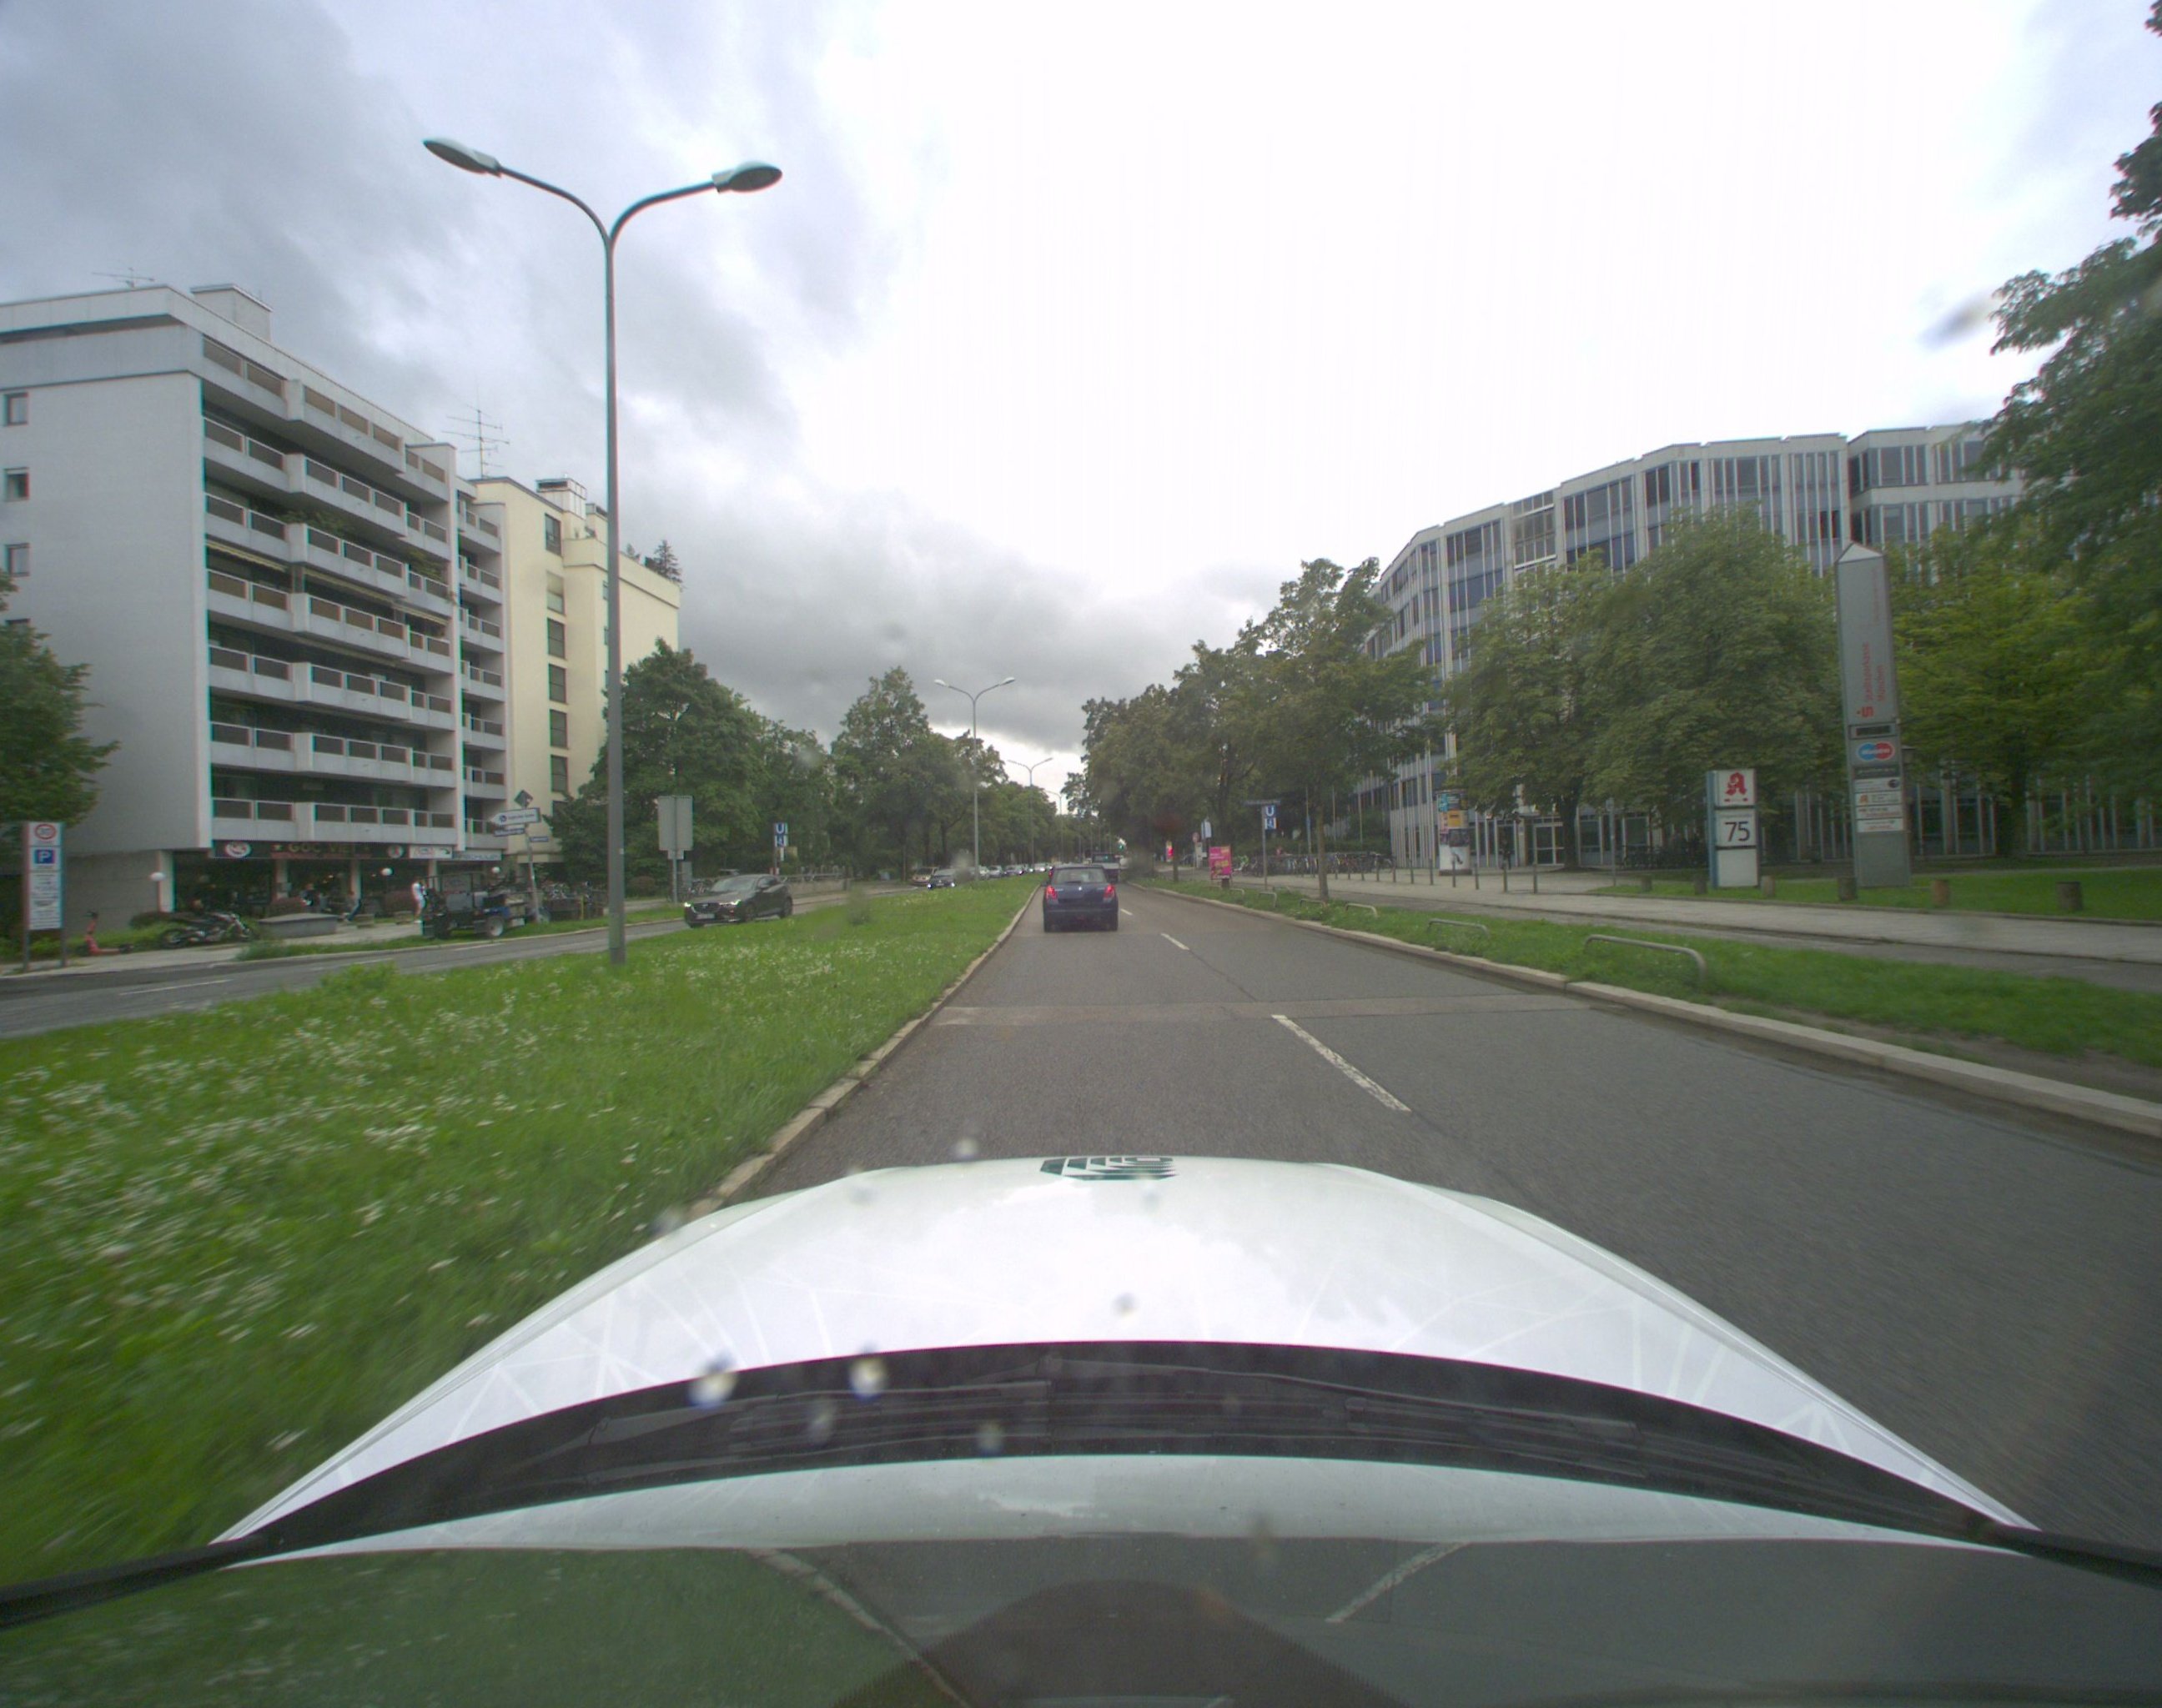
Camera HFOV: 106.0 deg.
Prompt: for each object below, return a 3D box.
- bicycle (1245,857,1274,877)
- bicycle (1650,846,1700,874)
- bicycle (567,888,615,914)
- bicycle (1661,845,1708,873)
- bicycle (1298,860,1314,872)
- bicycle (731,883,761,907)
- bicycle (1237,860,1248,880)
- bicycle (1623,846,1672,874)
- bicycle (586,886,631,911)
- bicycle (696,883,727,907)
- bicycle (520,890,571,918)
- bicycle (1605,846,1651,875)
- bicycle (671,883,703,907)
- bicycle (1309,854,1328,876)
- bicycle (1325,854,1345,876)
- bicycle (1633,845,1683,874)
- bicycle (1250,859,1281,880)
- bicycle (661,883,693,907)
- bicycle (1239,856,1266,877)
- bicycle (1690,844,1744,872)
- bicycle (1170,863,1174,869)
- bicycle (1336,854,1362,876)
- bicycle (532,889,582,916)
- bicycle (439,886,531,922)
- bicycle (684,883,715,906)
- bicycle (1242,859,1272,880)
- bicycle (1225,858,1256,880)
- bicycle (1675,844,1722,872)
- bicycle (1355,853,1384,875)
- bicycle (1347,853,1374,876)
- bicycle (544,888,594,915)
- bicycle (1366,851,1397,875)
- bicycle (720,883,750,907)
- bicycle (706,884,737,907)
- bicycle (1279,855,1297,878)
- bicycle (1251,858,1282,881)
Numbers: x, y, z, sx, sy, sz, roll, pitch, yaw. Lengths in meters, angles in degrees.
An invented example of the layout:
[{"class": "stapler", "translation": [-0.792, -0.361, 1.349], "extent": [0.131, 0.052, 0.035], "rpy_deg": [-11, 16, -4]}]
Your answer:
[{"class": "bicycle", "translation": [11.003, 0.809, 50.180], "extent": [1.965, 1.083, 0.590], "rpy_deg": [-5, 1, -41]}, {"class": "bicycle", "translation": [27.470, 0.292, 37.706], "extent": [0.508, 1.260, 2.170], "rpy_deg": [-2, -1, -6]}, {"class": "bicycle", "translation": [-22.670, 2.150, 37.662], "extent": [1.937, 1.103, 0.561], "rpy_deg": [2, 0, 7]}, {"class": "bicycle", "translation": [28.063, 0.258, 37.906], "extent": [0.508, 1.260, 2.017], "rpy_deg": [-2, -1, -7]}, {"class": "bicycle", "translation": [17.477, 0.942, 63.270], "extent": [0.680, 0.853, 1.834], "rpy_deg": [-3, 0, -1]}, {"class": "bicycle", "translation": [-16.574, 2.014, 40.328], "extent": [0.406, 1.089, 2.088], "rpy_deg": [2, 0, 6]}, {"class": "bicycle", "translation": [10.865, 1.040, 54.738], "extent": [0.527, 1.226, 1.866], "rpy_deg": [-5, 1, 8]}, {"class": "bicycle", "translation": [26.083, 0.294, 37.553], "extent": [0.508, 1.260, 2.170], "rpy_deg": [-2, -1, -6]}, {"class": "bicycle", "translation": [-22.500, 2.123, 38.782], "extent": [1.937, 1.103, 0.490], "rpy_deg": [2, 0, 7]}, {"class": "bicycle", "translation": [-18.316, 2.010, 40.396], "extent": [0.406, 1.073, 1.958], "rpy_deg": [2, 0, 6]}, {"class": "bicycle", "translation": [-23.045, 2.138, 35.038], "extent": [1.937, 1.103, 0.490], "rpy_deg": [2, 0, 7]}, {"class": "bicycle", "translation": [25.419, 0.315, 37.887], "extent": [0.605, 1.260, 2.052], "rpy_deg": [-2, -1, -4]}, {"class": "bicycle", "translation": [-19.487, 2.016, 40.330], "extent": [0.406, 1.104, 1.958], "rpy_deg": [2, 0, 6]}, {"class": "bicycle", "translation": [13.231, 0.629, 45.429], "extent": [0.486, 1.189, 1.954], "rpy_deg": [-2, -1, 1]}, {"class": "bicycle", "translation": [14.077, 0.619, 45.136], "extent": [0.444, 1.189, 1.954], "rpy_deg": [-2, -1, 1]}, {"class": "bicycle", "translation": [26.652, 0.270, 37.670], "extent": [0.508, 1.260, 2.170], "rpy_deg": [-2, -1, -6]}, {"class": "bicycle", "translation": [10.841, 0.884, 47.755], "extent": [2.052, 1.089, 0.597], "rpy_deg": [-3, -3, -41]}, {"class": "bicycle", "translation": [-20.003, 2.026, 40.355], "extent": [0.406, 1.097, 1.958], "rpy_deg": [2, 0, 6]}, {"class": "bicycle", "translation": [10.825, 0.796, 51.336], "extent": [1.965, 1.108, 0.573], "rpy_deg": [-7, 2, -41]}, {"class": "bicycle", "translation": [29.393, 0.190, 37.681], "extent": [0.552, 1.260, 2.170], "rpy_deg": [-2, -1, -7]}, {"class": "bicycle", "translation": [17.657, 2.333, 158.403], "extent": [0.745, 1.183, 2.249], "rpy_deg": [-2, -1, 4]}, {"class": "bicycle", "translation": [14.755, 0.606, 44.868], "extent": [0.445, 1.189, 2.136], "rpy_deg": [-2, -1, -6]}, {"class": "bicycle", "translation": [-22.931, 2.113, 35.656], "extent": [1.937, 1.103, 0.490], "rpy_deg": [2, 0, 7]}, {"class": "bicycle", "translation": [-23.937, 1.988, 32.718], "extent": [3.309, 1.283, 0.789], "rpy_deg": [2, 0, 7]}, {"class": "bicycle", "translation": [-18.899, 2.016, 40.418], "extent": [0.406, 1.030, 1.958], "rpy_deg": [2, 0, 6]}, {"class": "bicycle", "translation": [10.540, 0.909, 48.704], "extent": [1.965, 1.066, 0.573], "rpy_deg": [-5, -1, -41]}, {"class": "bicycle", "translation": [10.177, 0.964, 52.068], "extent": [1.961, 1.189, 0.591], "rpy_deg": [-5, 1, -31]}, {"class": "bicycle", "translation": [28.777, 0.185, 37.973], "extent": [0.508, 1.260, 1.950], "rpy_deg": [-2, -1, -7]}, {"class": "bicycle", "translation": [15.962, 0.568, 45.076], "extent": [0.576, 1.189, 2.136], "rpy_deg": [-2, -1, -7]}, {"class": "bicycle", "translation": [15.312, 0.593, 44.676], "extent": [0.511, 1.189, 2.136], "rpy_deg": [-2, -1, -6]}, {"class": "bicycle", "translation": [-22.847, 2.127, 36.341], "extent": [1.937, 1.103, 0.490], "rpy_deg": [2, 0, 7]}, {"class": "bicycle", "translation": [16.709, 0.508, 45.299], "extent": [0.508, 1.294, 2.472], "rpy_deg": [-2, -1, -6]}, {"class": "bicycle", "translation": [-17.102, 2.021, 40.315], "extent": [0.406, 1.078, 1.958], "rpy_deg": [2, 0, 6]}, {"class": "bicycle", "translation": [-17.773, 2.061, 40.309], "extent": [0.406, 1.040, 1.958], "rpy_deg": [2, 0, 6]}, {"class": "bicycle", "translation": [11.528, 0.690, 45.370], "extent": [0.486, 1.189, 1.954], "rpy_deg": [-2, -1, 1]}, {"class": "bicycle", "translation": [10.551, 0.869, 46.271], "extent": [2.043, 1.099, 0.573], "rpy_deg": [-4, -2, -42]}]
